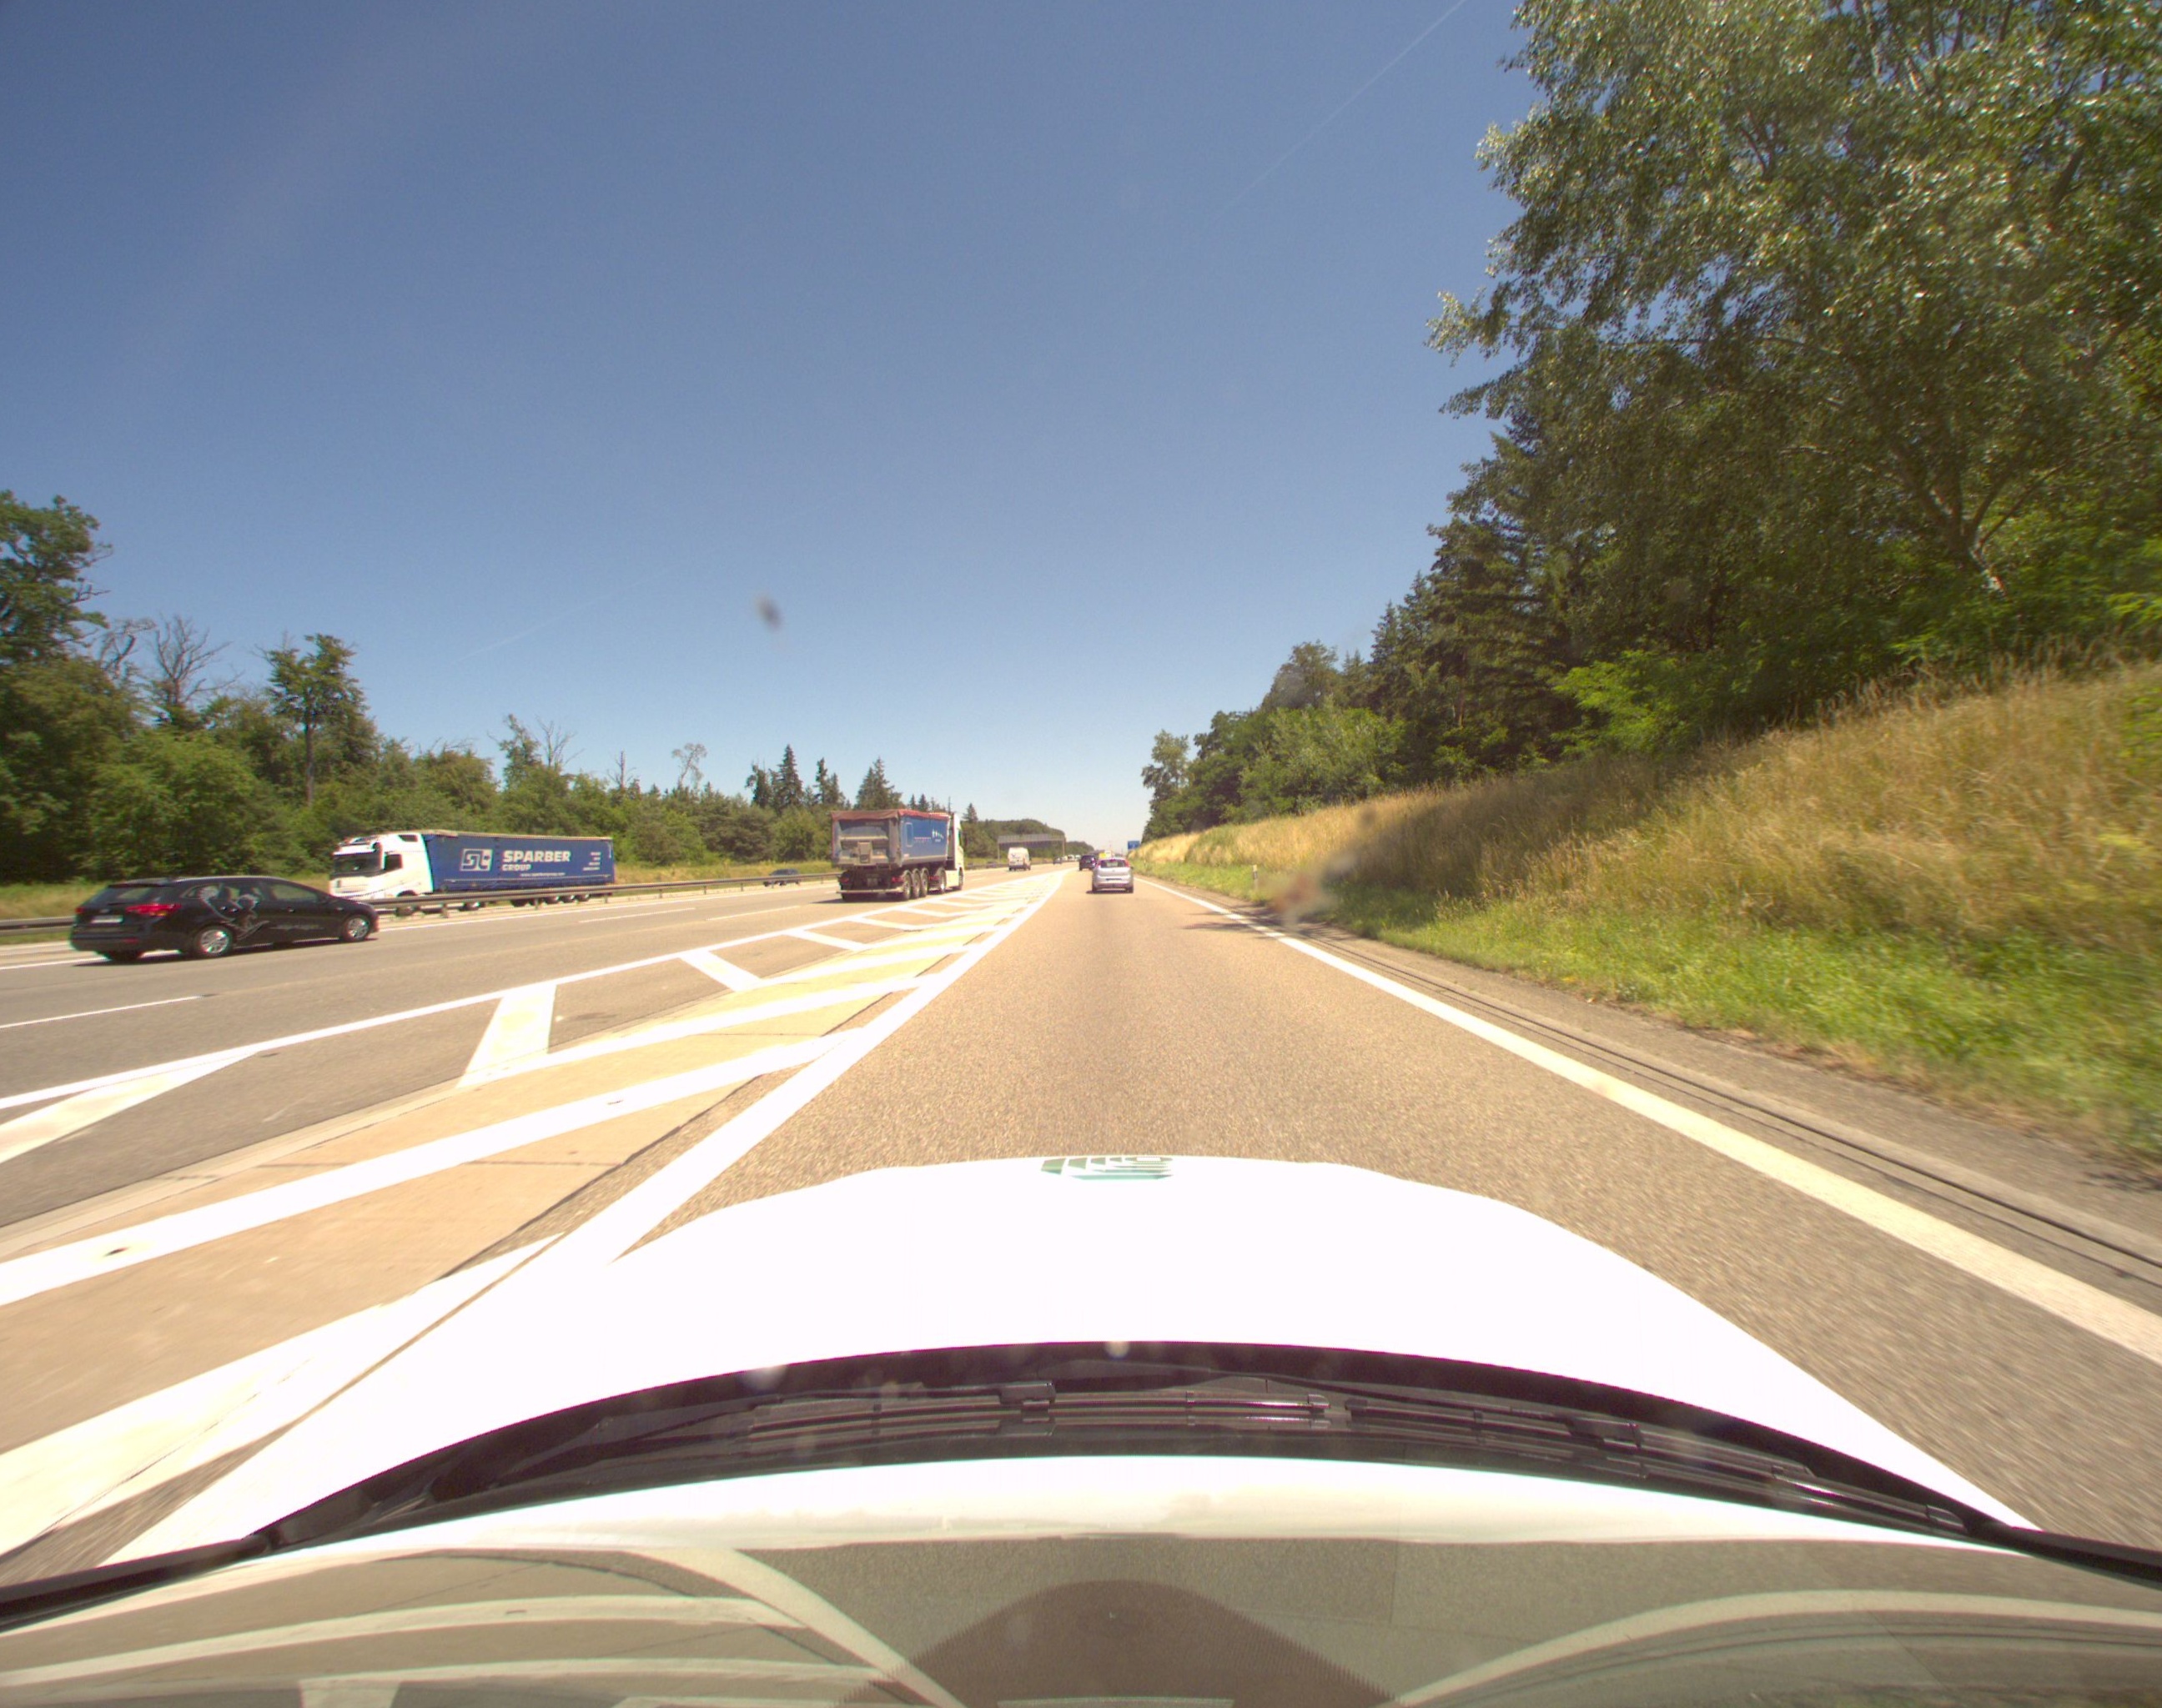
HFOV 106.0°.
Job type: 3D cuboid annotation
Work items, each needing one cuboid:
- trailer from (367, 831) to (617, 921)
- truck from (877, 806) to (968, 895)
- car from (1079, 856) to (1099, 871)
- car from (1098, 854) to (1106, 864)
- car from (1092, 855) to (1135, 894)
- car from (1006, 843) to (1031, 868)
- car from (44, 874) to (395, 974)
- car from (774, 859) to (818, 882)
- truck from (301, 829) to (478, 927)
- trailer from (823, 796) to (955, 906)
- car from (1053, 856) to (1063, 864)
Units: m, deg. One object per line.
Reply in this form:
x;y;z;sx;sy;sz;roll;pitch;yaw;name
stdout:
-32.314;1.098;46.136;3.189;4.172;13.994;-3;0;3;trailer
-7.216;-0.162;37.929;2.673;3.758;5.948;-2;0;3;truck
0.881;1.033;89.054;1.823;1.672;4.006;-1;-1;5;car
4.524;1.083;178.195;1.605;2.014;4.002;-1;0;2;car
1.349;0.808;34.313;1.713;1.491;3.738;-1;0;1;car
-7.621;0.158;99.465;2.251;2.951;6.118;-1;0;3;car
-16.244;1.214;15.810;1.696;1.474;4.601;-2;0;3;car
-25.348;1.462;72.565;1.984;1.886;4.513;-2;0;4;car
-32.698;1.061;38.852;3.190;4.172;5.726;-3;-1;3;truck
-7.450;-0.115;33.196;2.726;3.758;9.115;-2;0;3;trailer
-5.335;1.383;188.455;2.149;1.814;4.862;-1;0;1;car
